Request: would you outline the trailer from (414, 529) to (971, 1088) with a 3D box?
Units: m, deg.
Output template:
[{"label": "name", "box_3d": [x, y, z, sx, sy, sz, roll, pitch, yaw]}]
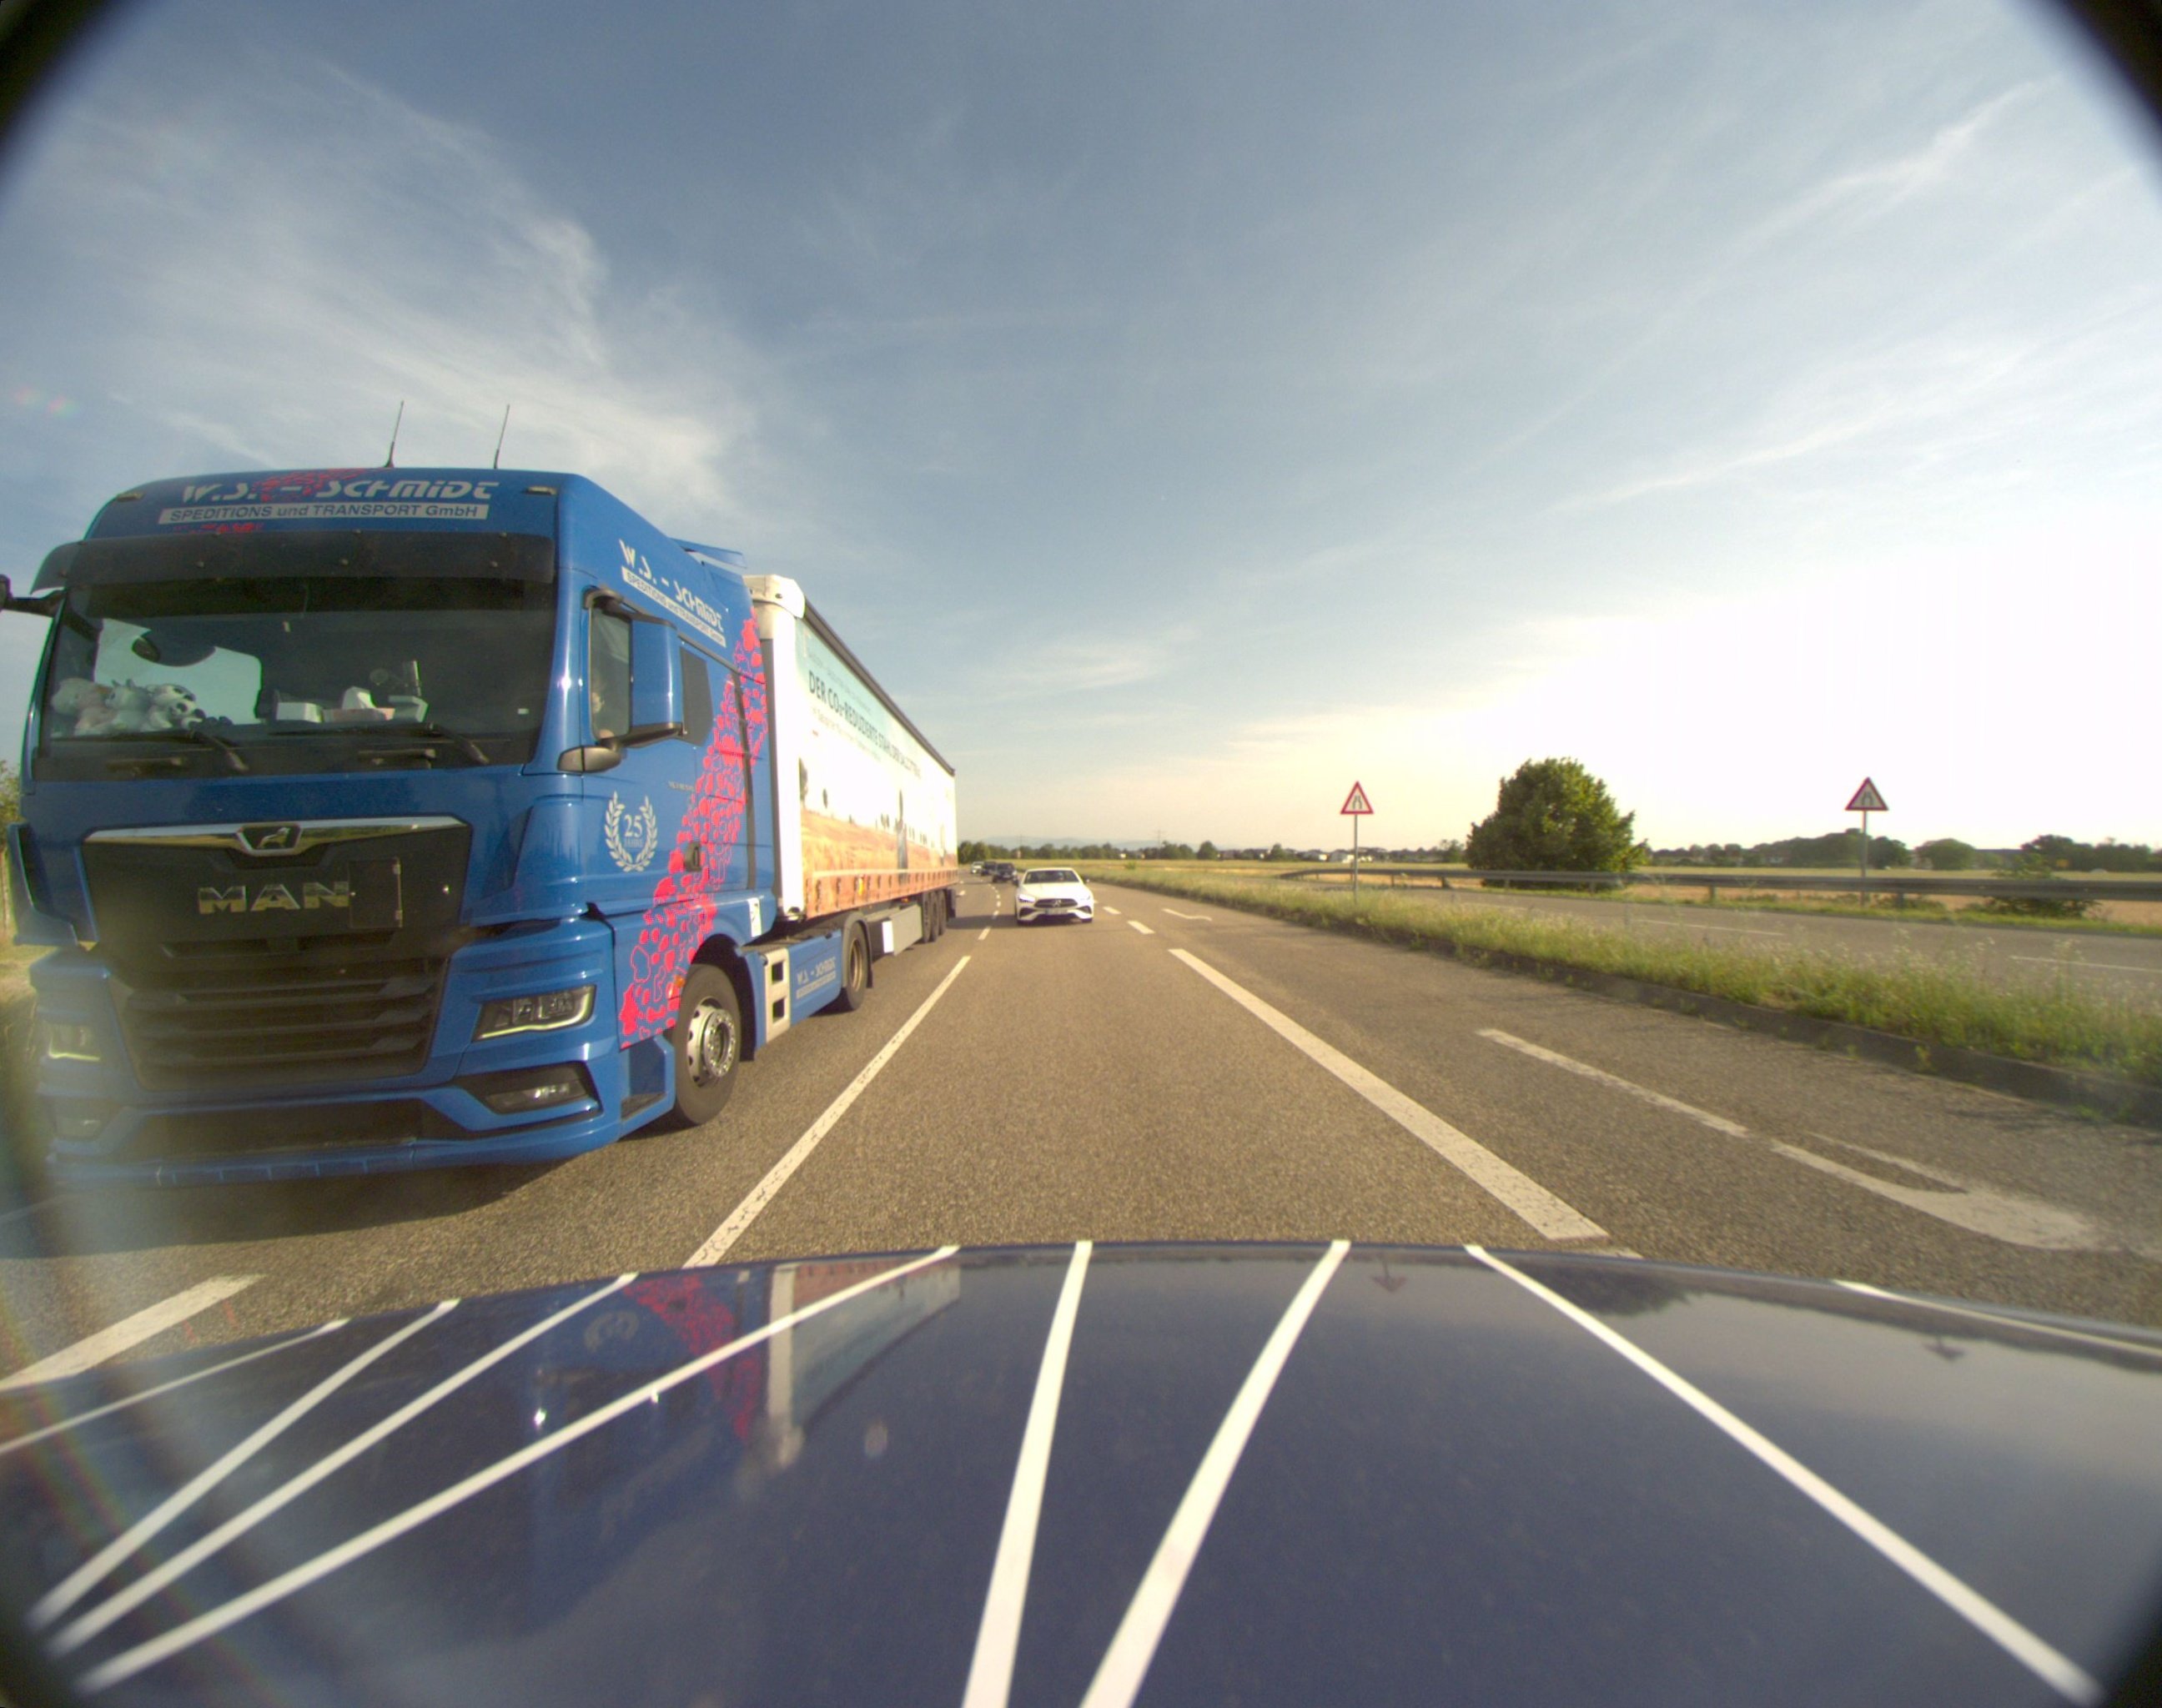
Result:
[{"label": "trailer", "box_3d": [-4.202, -0.425, 13.015, 3.290, 4.654, 13.142, -2, 0, -3]}]

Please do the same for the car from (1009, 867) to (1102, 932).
[{"label": "car", "box_3d": [-0.763, 1.080, 19.606, 1.942, 1.389, 3.916, -2, 0, -8]}]

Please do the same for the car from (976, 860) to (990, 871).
[{"label": "car", "box_3d": [-12.271, 1.421, 95.007, 1.558, 1.391, 4.033, -1, 0, -8]}]

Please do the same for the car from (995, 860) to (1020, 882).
[{"label": "car", "box_3d": [-5.414, 1.221, 55.704, 1.585, 1.496, 3.658, -1, 0, -8]}]

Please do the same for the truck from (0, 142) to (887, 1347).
[{"label": "truck", "box_3d": [-3.813, -0.422, 5.817, 3.309, 4.630, 5.730, -2, 0, -3]}]

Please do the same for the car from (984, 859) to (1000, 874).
[{"label": "car", "box_3d": [-9.250, 1.274, 79.129, 1.558, 1.550, 3.047, -1, 0, -8]}]
